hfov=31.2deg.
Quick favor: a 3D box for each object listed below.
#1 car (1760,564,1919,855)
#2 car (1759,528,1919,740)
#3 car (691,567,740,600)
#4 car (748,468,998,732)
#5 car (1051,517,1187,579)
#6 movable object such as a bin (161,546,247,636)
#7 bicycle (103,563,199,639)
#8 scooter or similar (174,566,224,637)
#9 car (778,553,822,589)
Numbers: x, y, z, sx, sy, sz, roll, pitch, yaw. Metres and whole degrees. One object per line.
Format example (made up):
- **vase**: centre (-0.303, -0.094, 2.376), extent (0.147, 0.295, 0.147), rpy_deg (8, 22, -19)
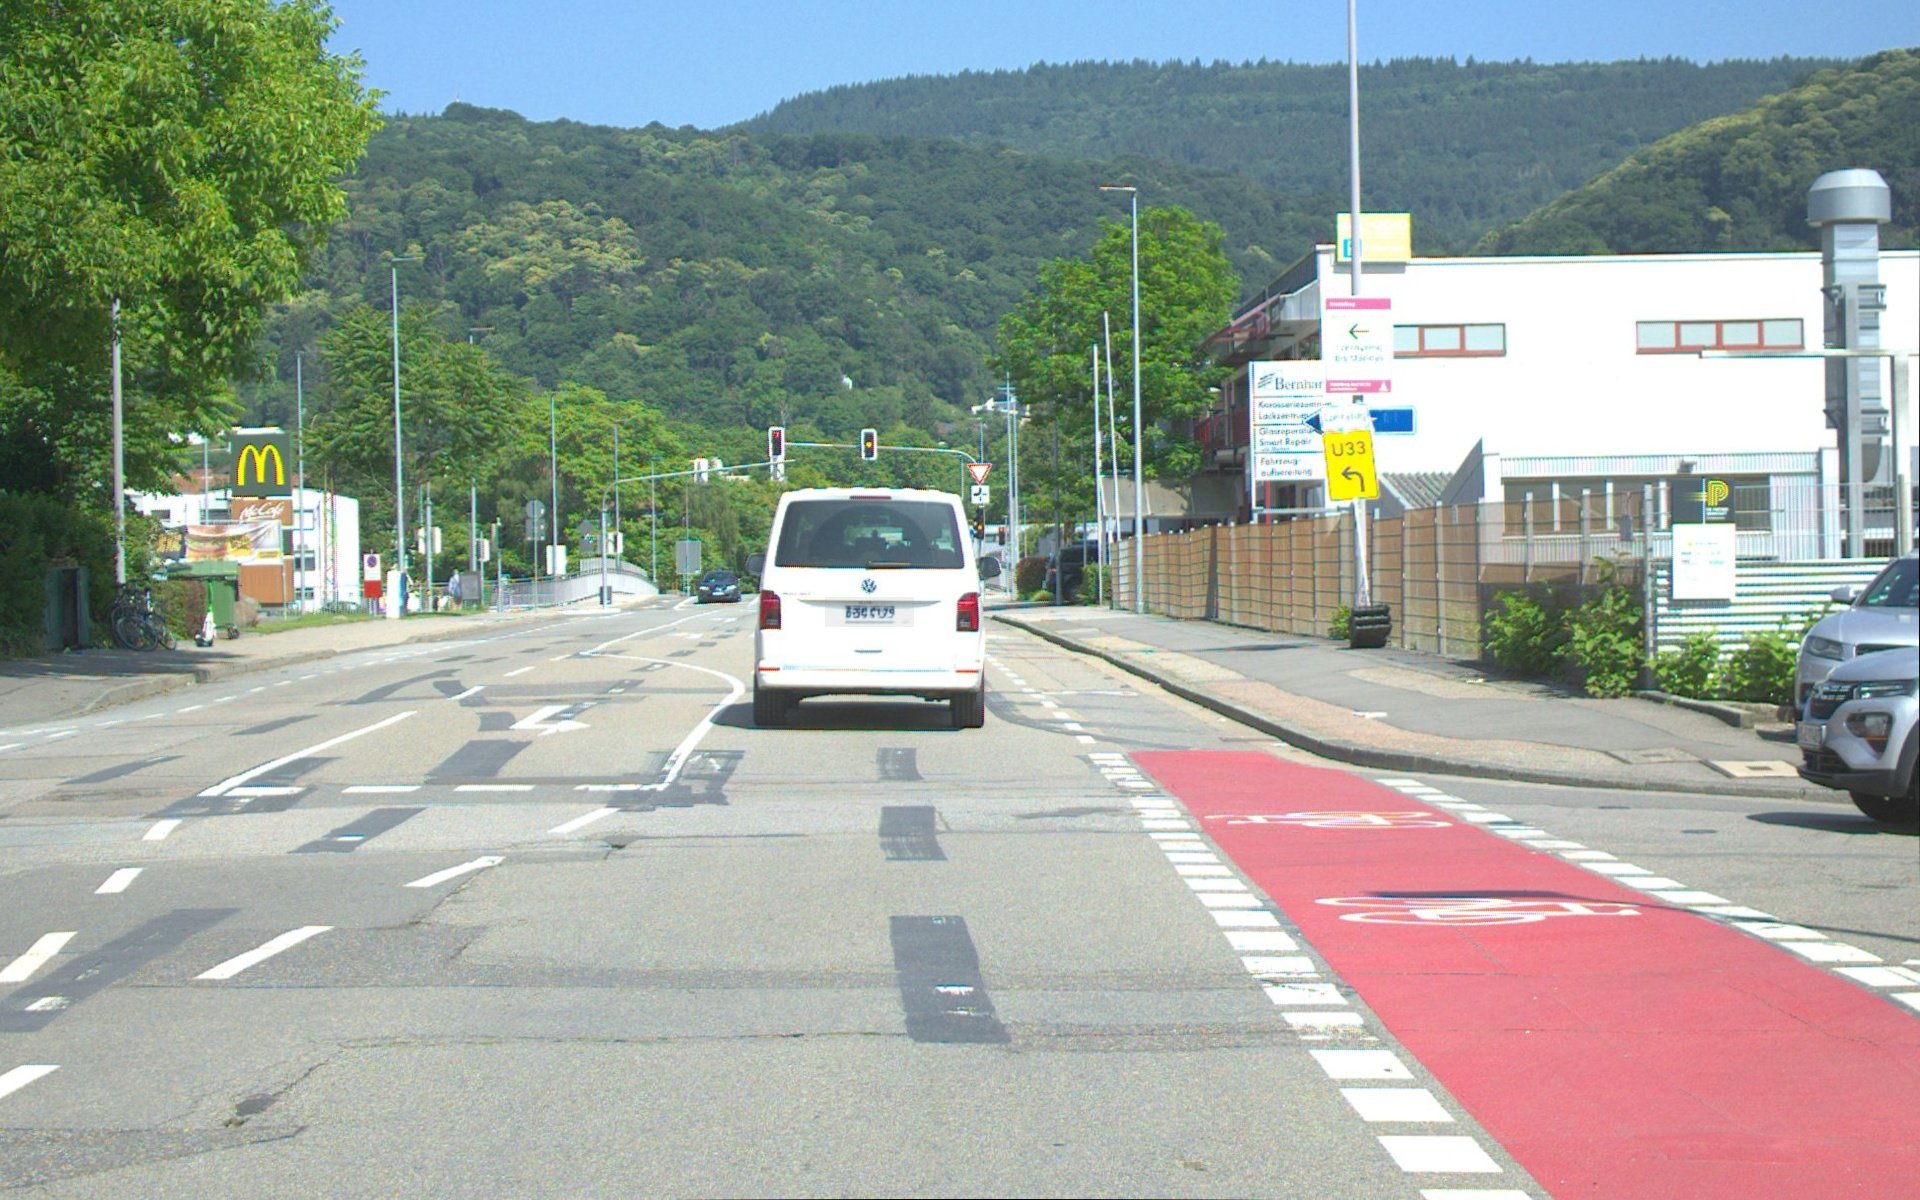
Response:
- **car**: centre (6.380, 0.550, 18.598), extent (3.664, 1.479, 1.728), rpy_deg (0, 1, -2)
- **car**: centre (7.329, 0.293, 24.671), extent (1.955, 1.354, 4.490), rpy_deg (3, 0, 28)
- **car**: centre (-10.656, -0.731, 150.076), extent (1.993, 1.365, 4.327), rpy_deg (-1, 1, -3)
- **car**: centre (-0.823, -0.036, 29.563), extent (1.934, 2.052, 4.545), rpy_deg (1, 1, -3)
- **car**: centre (4.818, -1.576, 103.948), extent (3.987, 1.769, 2.000), rpy_deg (-1, 1, 5)
- **movable object such as a bin**: centre (-13.864, -0.171, 63.068), extent (1.447, 1.585, 1.307), rpy_deg (-2, 1, -10)
- **bicycle**: centre (-12.593, 0.000, 53.628), extent (1.026, 1.114, 2.766), rpy_deg (2, 1, -5)
- **scooter or similar**: centre (-12.645, 0.015, 57.146), extent (0.646, 1.124, 1.623), rpy_deg (2, 1, -8)
- **car**: centre (-7.174, -1.318, 154.607), extent (1.849, 1.583, 4.000), rpy_deg (-1, 1, -1)
